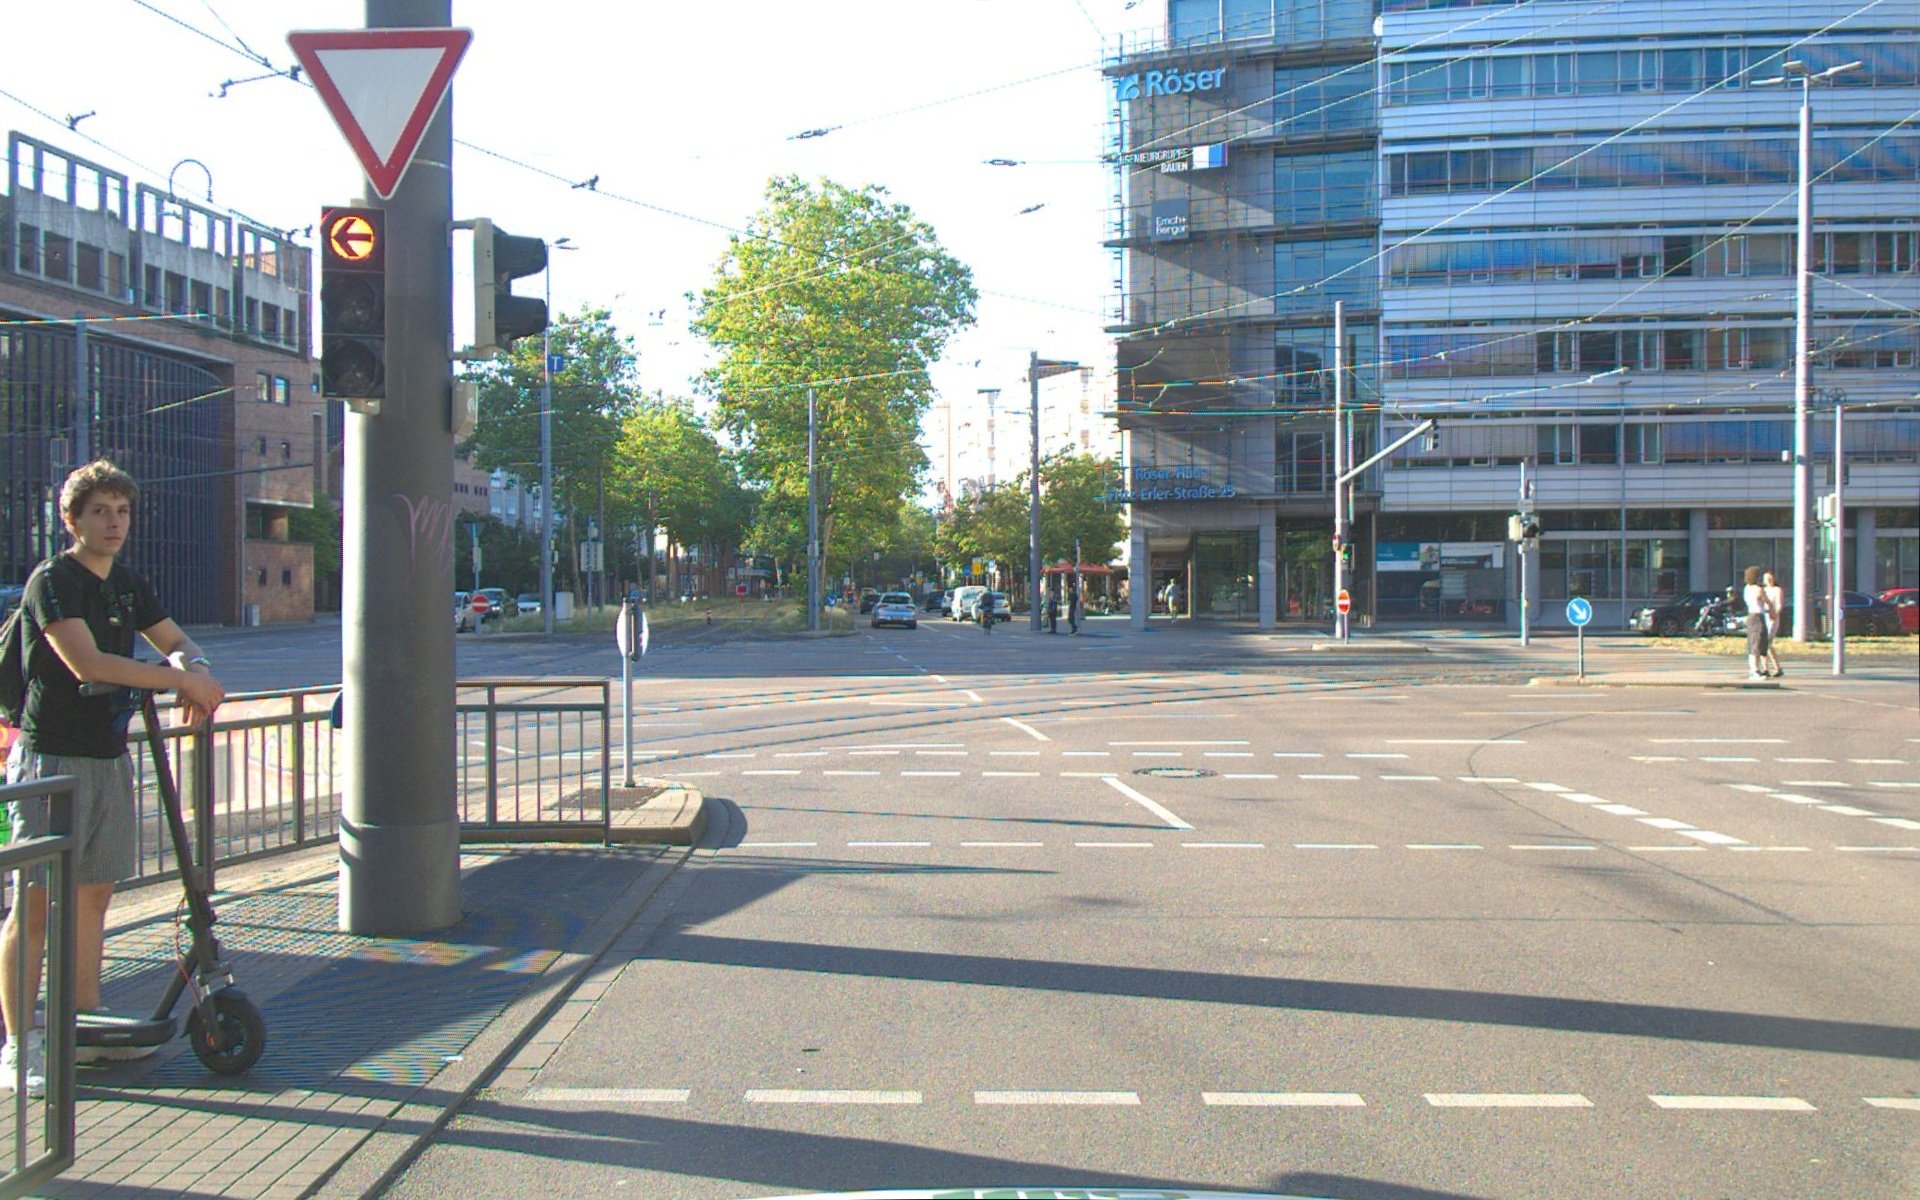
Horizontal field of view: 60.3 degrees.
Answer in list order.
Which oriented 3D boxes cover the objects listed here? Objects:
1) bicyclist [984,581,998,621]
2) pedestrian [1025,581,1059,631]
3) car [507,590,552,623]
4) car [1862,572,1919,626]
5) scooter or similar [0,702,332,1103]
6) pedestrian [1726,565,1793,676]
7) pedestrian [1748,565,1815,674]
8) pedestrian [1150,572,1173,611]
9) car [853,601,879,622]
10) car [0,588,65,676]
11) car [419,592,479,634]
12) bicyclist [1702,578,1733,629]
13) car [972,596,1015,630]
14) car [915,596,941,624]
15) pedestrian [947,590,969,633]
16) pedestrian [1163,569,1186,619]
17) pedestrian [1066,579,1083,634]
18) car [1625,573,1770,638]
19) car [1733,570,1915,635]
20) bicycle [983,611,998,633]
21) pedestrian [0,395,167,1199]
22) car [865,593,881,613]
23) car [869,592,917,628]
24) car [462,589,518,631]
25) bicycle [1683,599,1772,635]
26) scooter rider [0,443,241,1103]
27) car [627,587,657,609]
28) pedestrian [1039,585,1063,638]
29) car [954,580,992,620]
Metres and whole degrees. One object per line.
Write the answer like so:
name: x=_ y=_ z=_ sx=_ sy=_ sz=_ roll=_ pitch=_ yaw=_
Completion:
bicyclist: x=1.136 y=0.033 z=61.344 sx=0.477 sy=1.464 sz=0.615 roll=1 pitch=0 yaw=-1
pedestrian: x=3.269 y=0.254 z=66.120 sx=1.315 sy=1.984 sz=1.011 roll=0 pitch=0 yaw=-1
car: x=-22.086 y=0.346 z=84.988 sx=1.644 sy=1.635 sz=3.994 roll=1 pitch=0 yaw=-7
car: x=29.446 y=0.011 z=49.513 sx=3.903 sy=1.579 sz=1.798 roll=1 pitch=0 yaw=4
scooter or similar: x=-2.648 y=0.890 z=5.069 sx=1.177 sy=1.100 sz=0.648 roll=-1 pitch=0 yaw=3
pedestrian: x=13.102 y=0.332 z=27.117 sx=0.730 sy=1.789 sz=0.674 roll=-1 pitch=0 yaw=-26
pedestrian: x=13.754 y=0.321 z=27.690 sx=0.727 sy=1.789 sz=0.682 roll=-1 pitch=0 yaw=-17
pedestrian: x=11.704 y=-0.471 z=95.998 sx=1.285 sy=2.228 sz=1.171 roll=1 pitch=-1 yaw=5
car: x=-6.625 y=0.789 z=115.758 sx=1.729 sy=1.429 sz=4.292 roll=0 pitch=0 yaw=-5
car: x=-20.799 y=0.644 z=35.132 sx=1.832 sy=1.793 sz=3.993 roll=1 pitch=0 yaw=-8
car: x=-20.640 y=0.503 z=66.972 sx=1.591 sy=1.604 sz=3.994 roll=-1 pitch=0 yaw=-7
bicyclist: x=22.848 y=0.103 z=49.875 sx=0.649 sy=1.529 sz=0.613 roll=-1 pitch=0 yaw=4
car: x=1.651 y=0.656 z=82.800 sx=1.988 sy=1.624 sz=3.999 roll=1 pitch=0 yaw=-1
car: x=-2.447 y=0.753 z=126.674 sx=1.953 sy=2.049 sz=3.999 roll=1 pitch=0 yaw=-1
pedestrian: x=-0.072 y=0.460 z=67.565 sx=0.852 sy=1.737 sz=0.793 roll=1 pitch=-1 yaw=-1
pedestrian: x=8.925 y=-0.242 z=68.805 sx=0.852 sy=2.049 sz=0.793 roll=1 pitch=-2 yaw=-1
pedestrian: x=4.322 y=0.258 z=62.594 sx=0.574 sy=2.049 sz=0.620 roll=1 pitch=-1 yaw=0
car: x=24.414 y=0.185 z=54.870 sx=3.906 sy=2.049 sz=2.000 roll=1 pitch=0 yaw=-1
car: x=24.498 y=0.068 z=47.009 sx=4.165 sy=1.753 sz=1.885 roll=-1 pitch=0 yaw=2
bicycle: x=1.135 y=0.813 z=61.353 sx=0.481 sy=0.802 sz=1.861 roll=1 pitch=0 yaw=-1
pedestrian: x=-2.765 y=0.490 z=4.096 sx=1.143 sy=1.917 sz=0.854 roll=-1 pitch=0 yaw=4
car: x=-12.063 y=0.388 z=229.260 sx=1.952 sy=2.049 sz=3.999 roll=1 pitch=-10 yaw=0
car: x=-2.722 y=0.403 z=68.005 sx=1.712 sy=1.443 sz=4.001 roll=1 pitch=0 yaw=1
car: x=-21.125 y=0.413 z=74.511 sx=1.787 sy=1.821 sz=3.994 roll=-1 pitch=0 yaw=-7
bicycle: x=23.121 y=0.504 z=49.863 sx=2.359 sy=1.040 sz=0.637 roll=-1 pitch=0 yaw=4
scooter rider: x=-2.655 y=0.501 z=5.090 sx=0.554 sy=1.885 sz=0.680 roll=-1 pitch=-2 yaw=4
car: x=-30.062 y=-0.170 z=156.426 sx=1.837 sy=2.049 sz=4.472 roll=-1 pitch=0 yaw=2
pedestrian: x=3.555 y=0.443 z=64.390 sx=0.832 sy=2.049 sz=0.707 roll=1 pitch=-1 yaw=-3
car: x=0.663 y=0.004 z=89.615 sx=1.953 sy=2.049 sz=3.999 roll=1 pitch=0 yaw=-1
